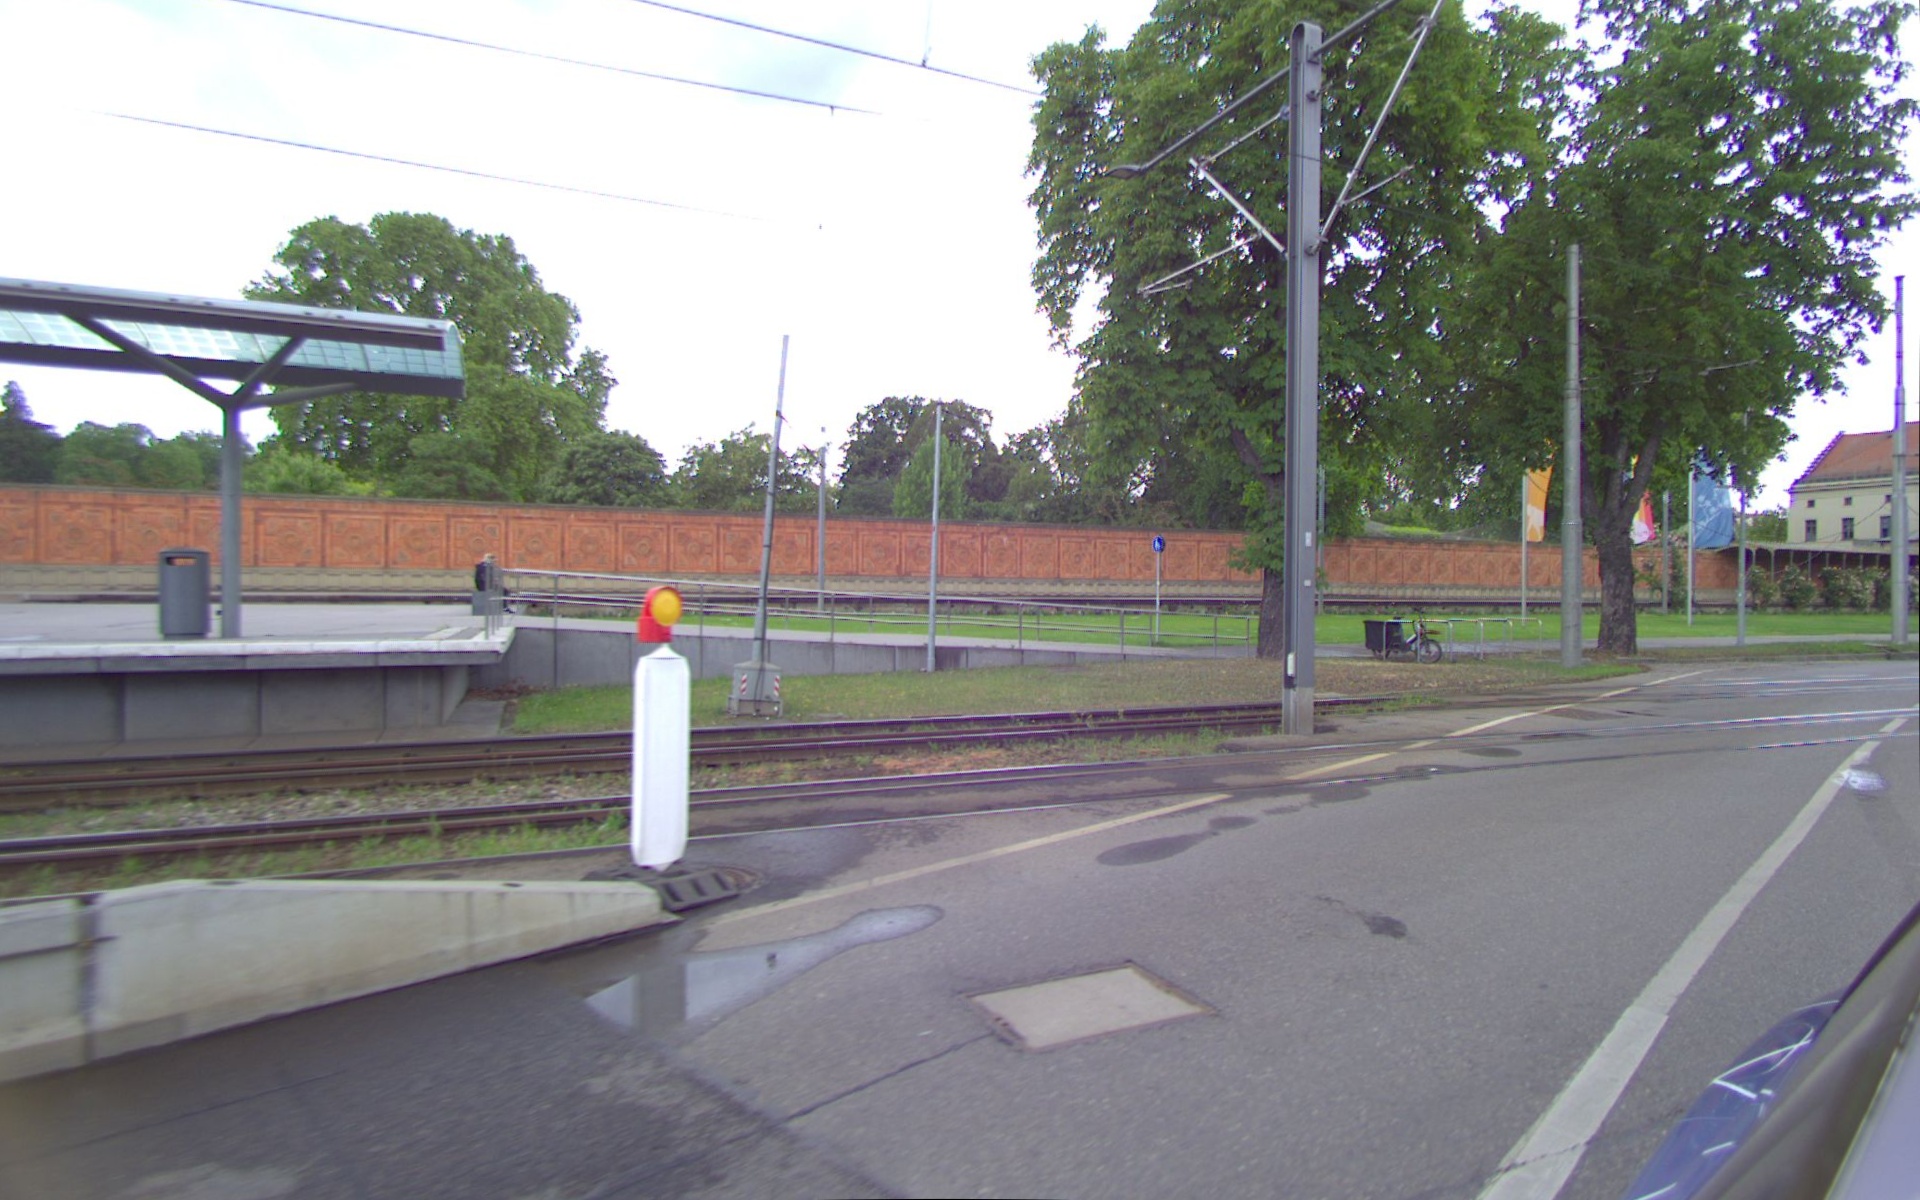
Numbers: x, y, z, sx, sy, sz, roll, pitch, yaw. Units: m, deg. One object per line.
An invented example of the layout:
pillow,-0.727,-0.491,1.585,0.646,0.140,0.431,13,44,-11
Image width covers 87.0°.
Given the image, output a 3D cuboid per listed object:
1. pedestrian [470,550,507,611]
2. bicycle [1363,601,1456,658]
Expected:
pedestrian,-9.678,-0.395,20.783,0.655,1.217,0.550,0,-2,-29
bicycle,9.954,0.628,22.508,0.725,1.172,2.002,0,1,-18
